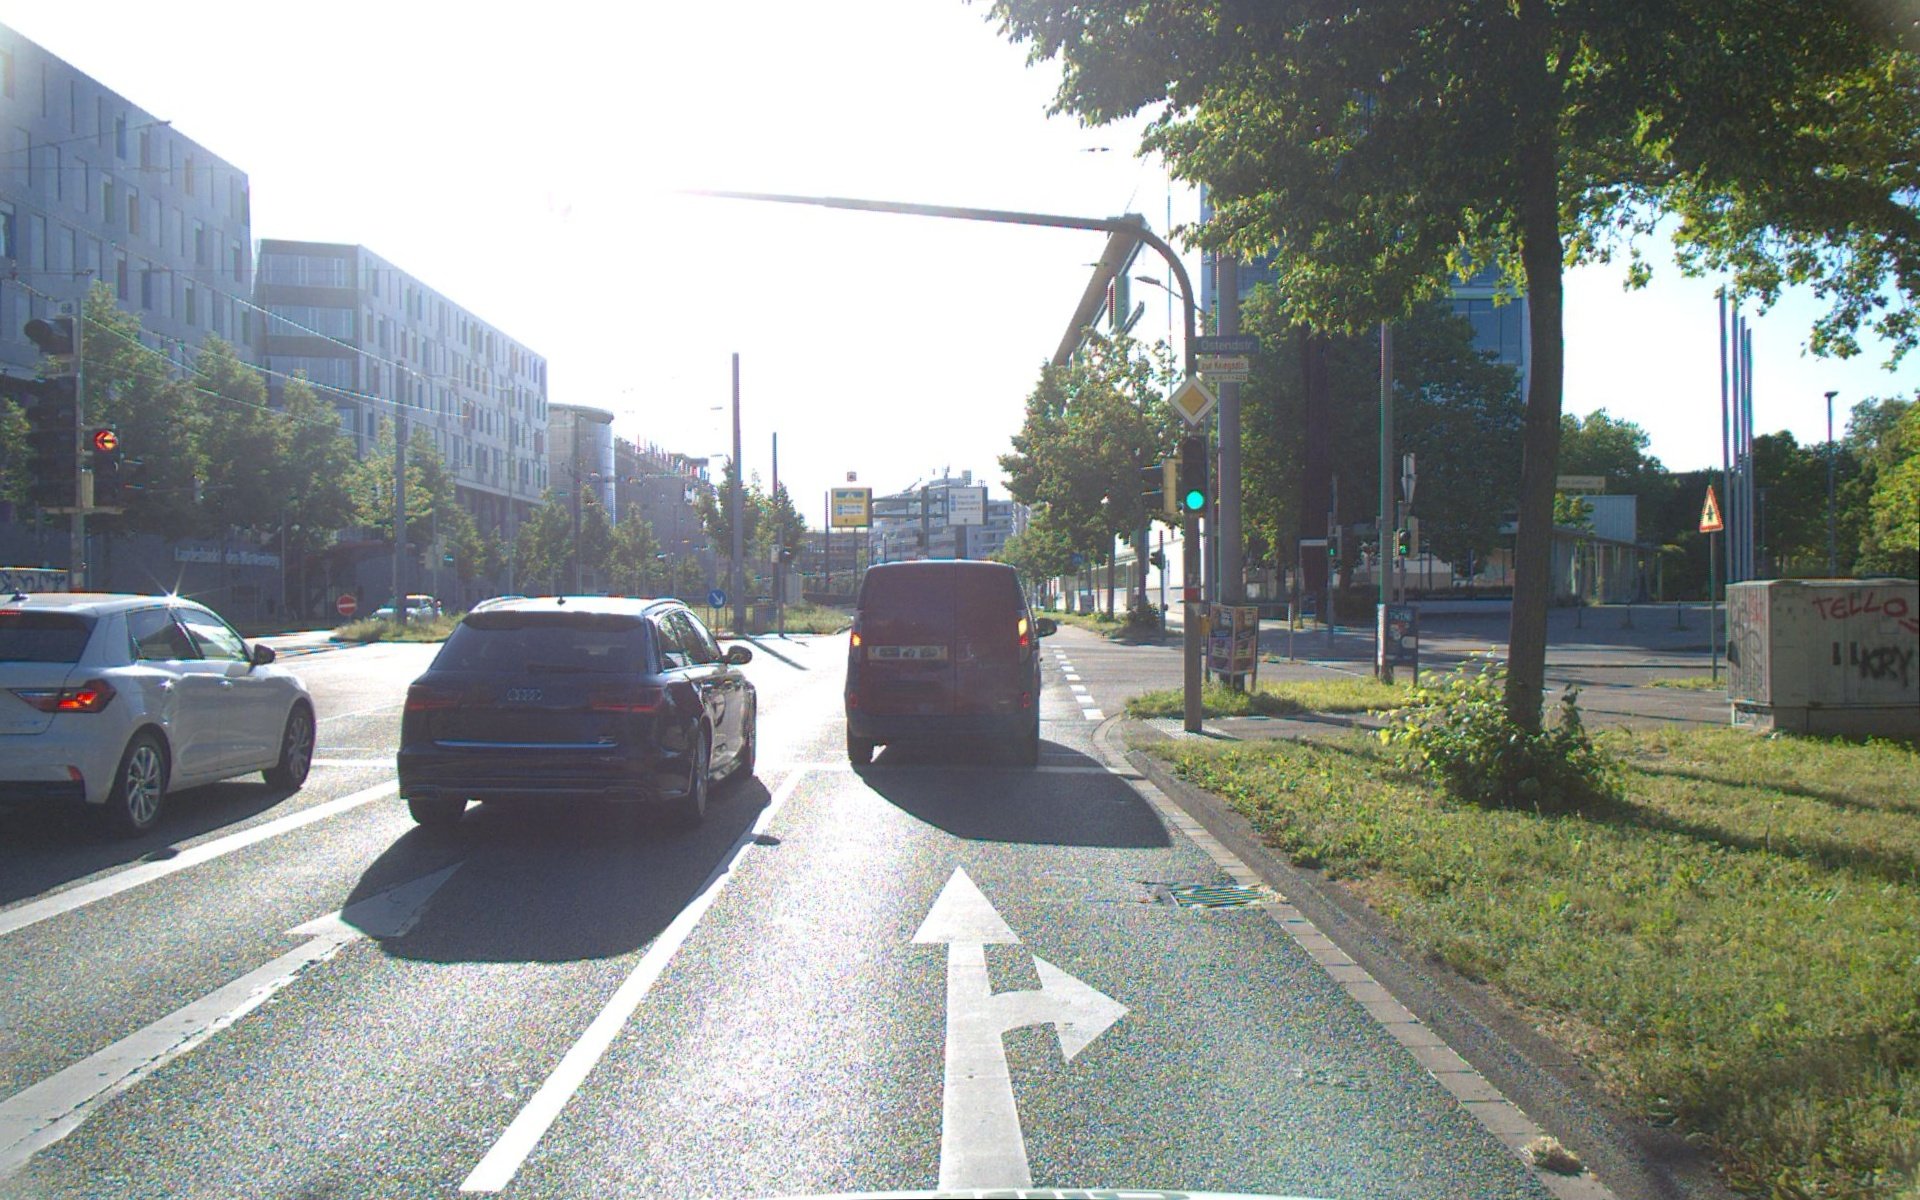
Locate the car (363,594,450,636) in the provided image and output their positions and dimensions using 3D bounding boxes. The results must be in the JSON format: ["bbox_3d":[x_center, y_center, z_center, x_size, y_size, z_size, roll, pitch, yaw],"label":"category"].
[{"bbox_3d":[-22.055,0.548,66.057,1.953,1.589,4.870,0,0,-2],"label":"car"}]

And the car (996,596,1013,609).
[{"bbox_3d":[5.513,0.259,206.554,1.815,1.507,4.852,-2,0,-2],"label":"car"}]

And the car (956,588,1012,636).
[{"bbox_3d":[0.786,0.396,57.011,1.815,1.573,3.999,1,0,-1],"label":"car"}]

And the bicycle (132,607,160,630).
[{"bbox_3d":[-42.814,0.961,86.983,0.509,1.193,1.975,-1,0,-1],"label":"bicycle"}]

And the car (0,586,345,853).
[{"bbox_3d":[-5.631,0.650,11.086,1.638,1.451,4.004,1,0,-3],"label":"car"}]

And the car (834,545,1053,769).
[{"bbox_3d":[-0.060,0.476,16.015,1.810,1.846,4.115,1,0,2],"label":"car"}]

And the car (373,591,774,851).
[{"bbox_3d":[-2.484,0.692,11.852,1.775,1.452,4.689,1,0,0],"label":"car"}]
